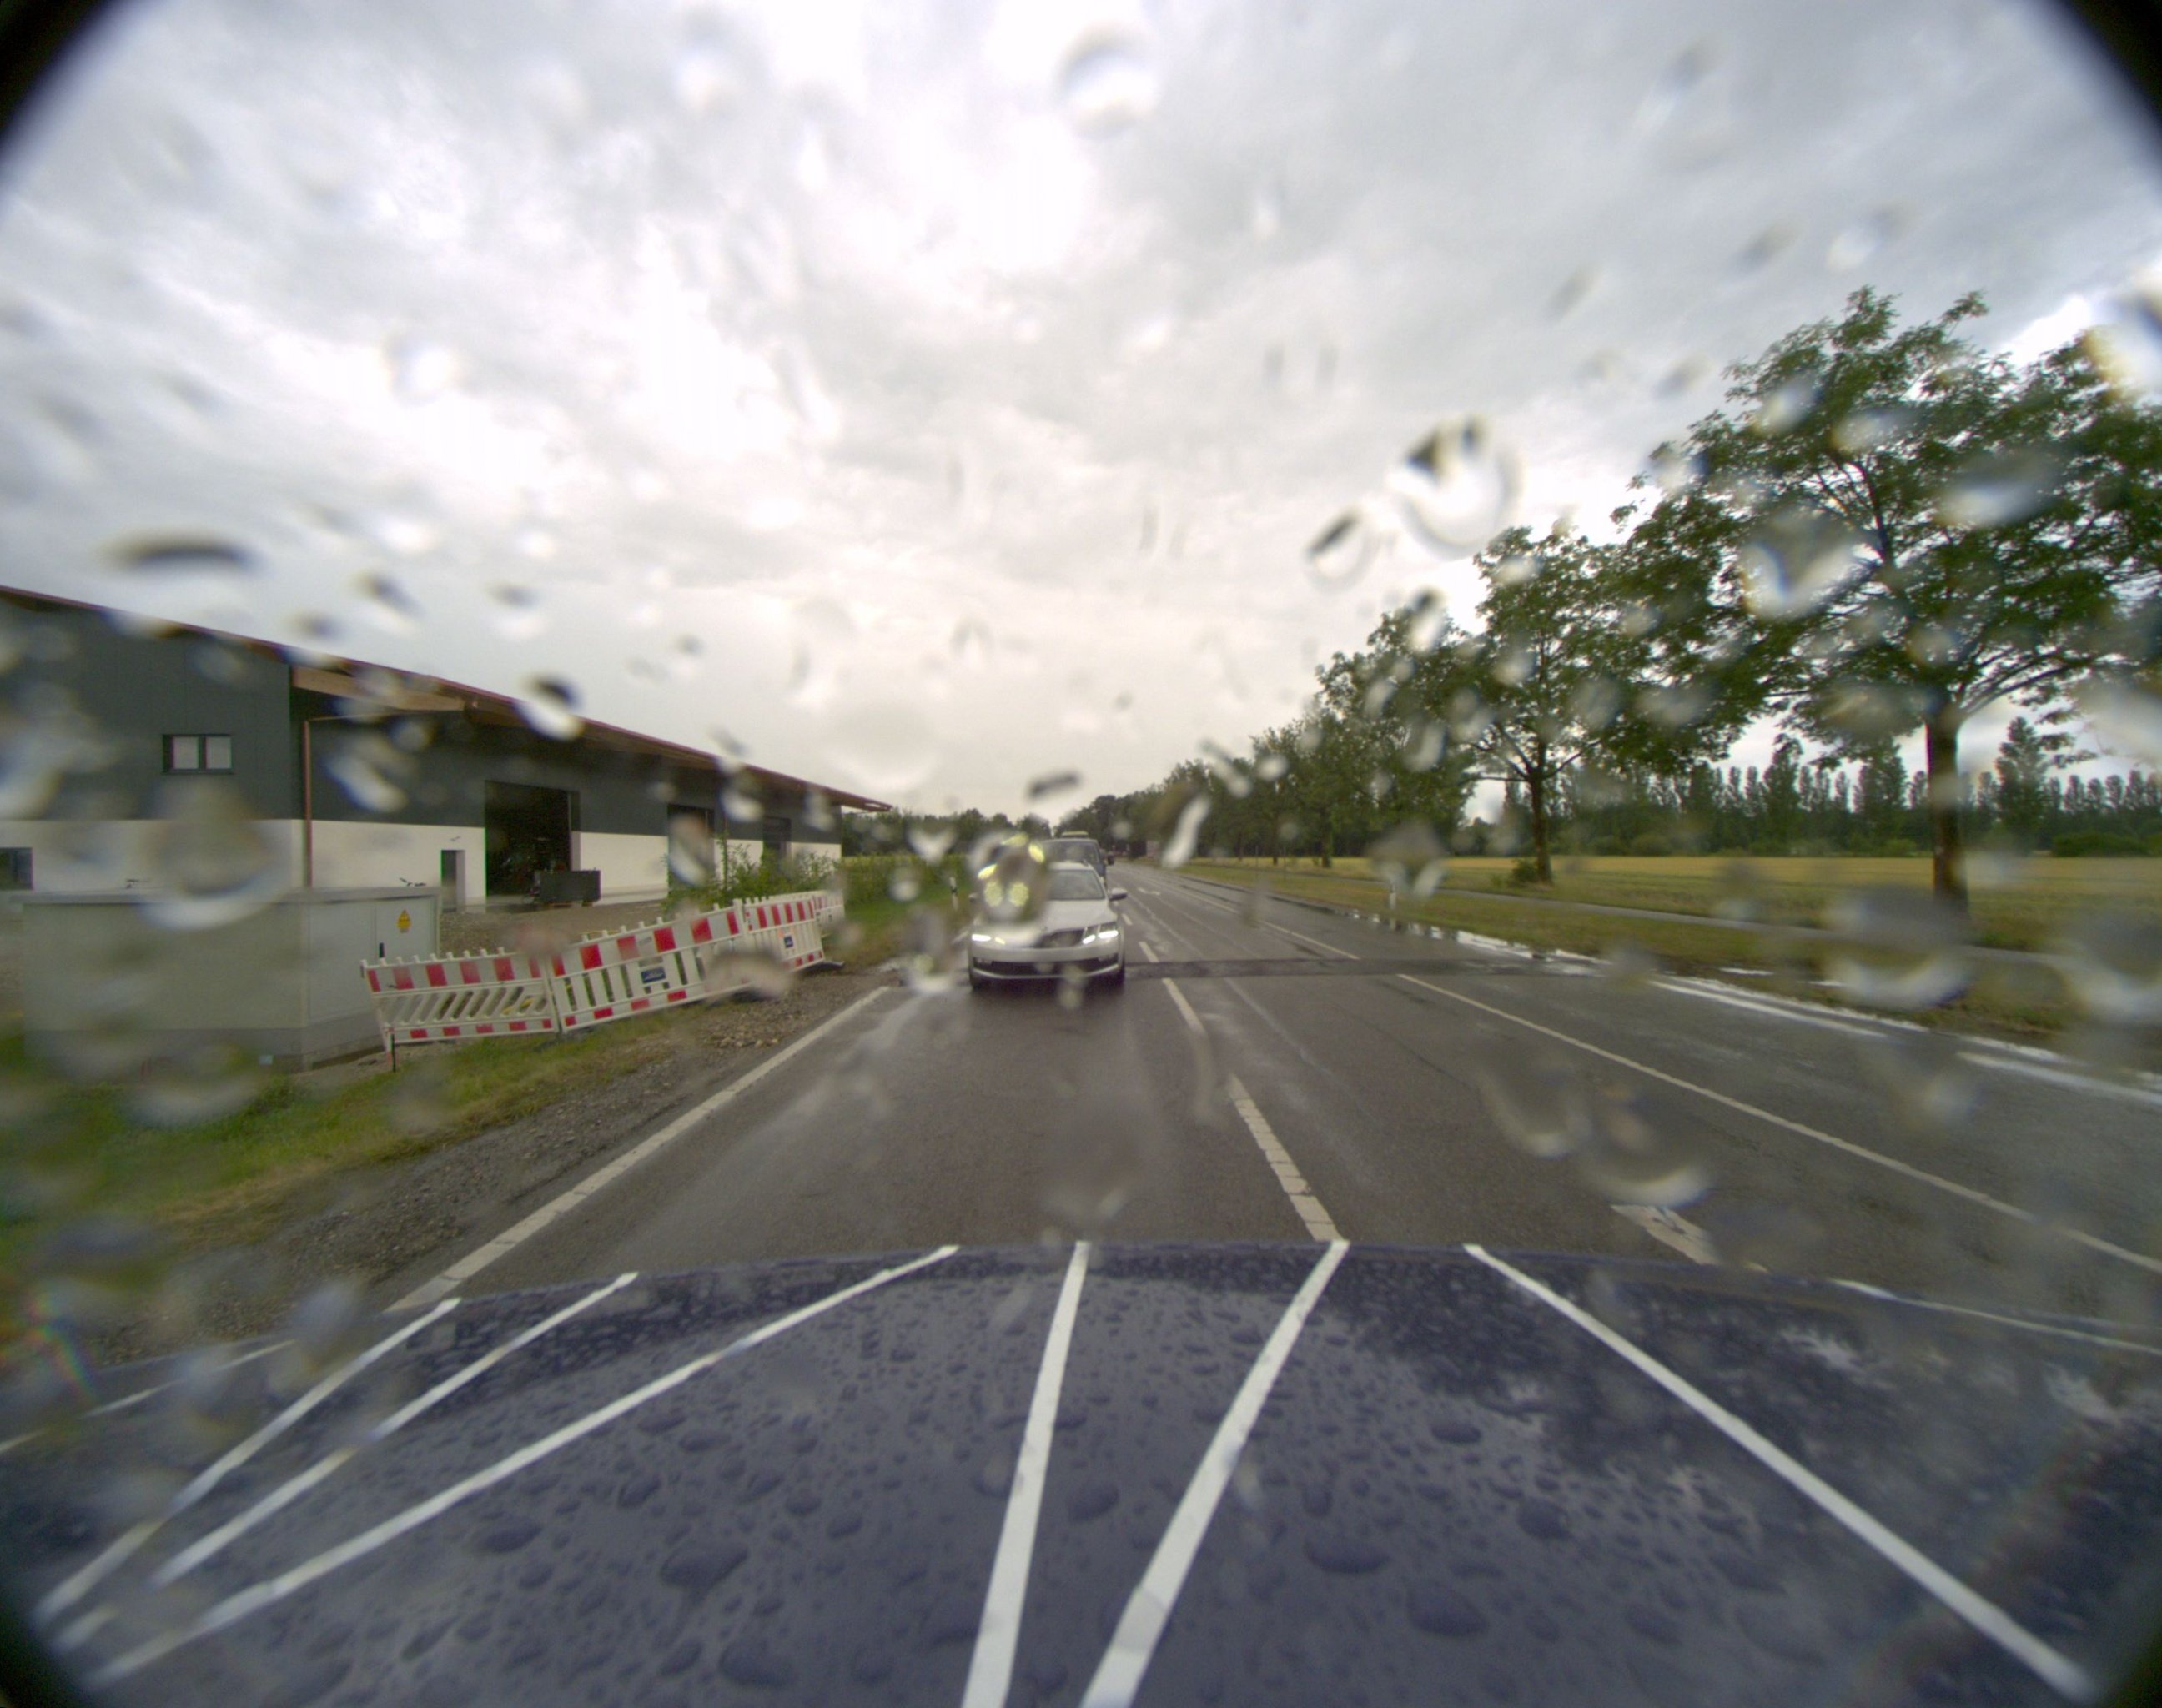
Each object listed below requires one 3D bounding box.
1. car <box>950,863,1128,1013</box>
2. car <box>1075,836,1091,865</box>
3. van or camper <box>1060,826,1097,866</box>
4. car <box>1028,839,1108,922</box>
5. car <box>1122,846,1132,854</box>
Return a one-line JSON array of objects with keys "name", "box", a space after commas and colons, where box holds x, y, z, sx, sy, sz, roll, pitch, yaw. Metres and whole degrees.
[{"name": "car", "box": [-0.419, 0.900, 10.119, 1.770, 1.365, 4.575, -3, 1, 0]}, {"name": "car", "box": [0.229, -0.427, 85.136, 1.771, 3.134, 4.027, -1, 1, -1]}, {"name": "van or camper", "box": [-0.195, -0.786, 73.459, 3.342, 3.624, 8.372, 0, 1, 0]}, {"name": "car", "box": [-0.285, 0.595, 19.837, 1.841, 1.888, 4.575, 0, 1, 0]}, {"name": "car", "box": [11.744, -1.121, 195.205, 1.999, 2.002, 3.997, -1, 1, -5]}]
